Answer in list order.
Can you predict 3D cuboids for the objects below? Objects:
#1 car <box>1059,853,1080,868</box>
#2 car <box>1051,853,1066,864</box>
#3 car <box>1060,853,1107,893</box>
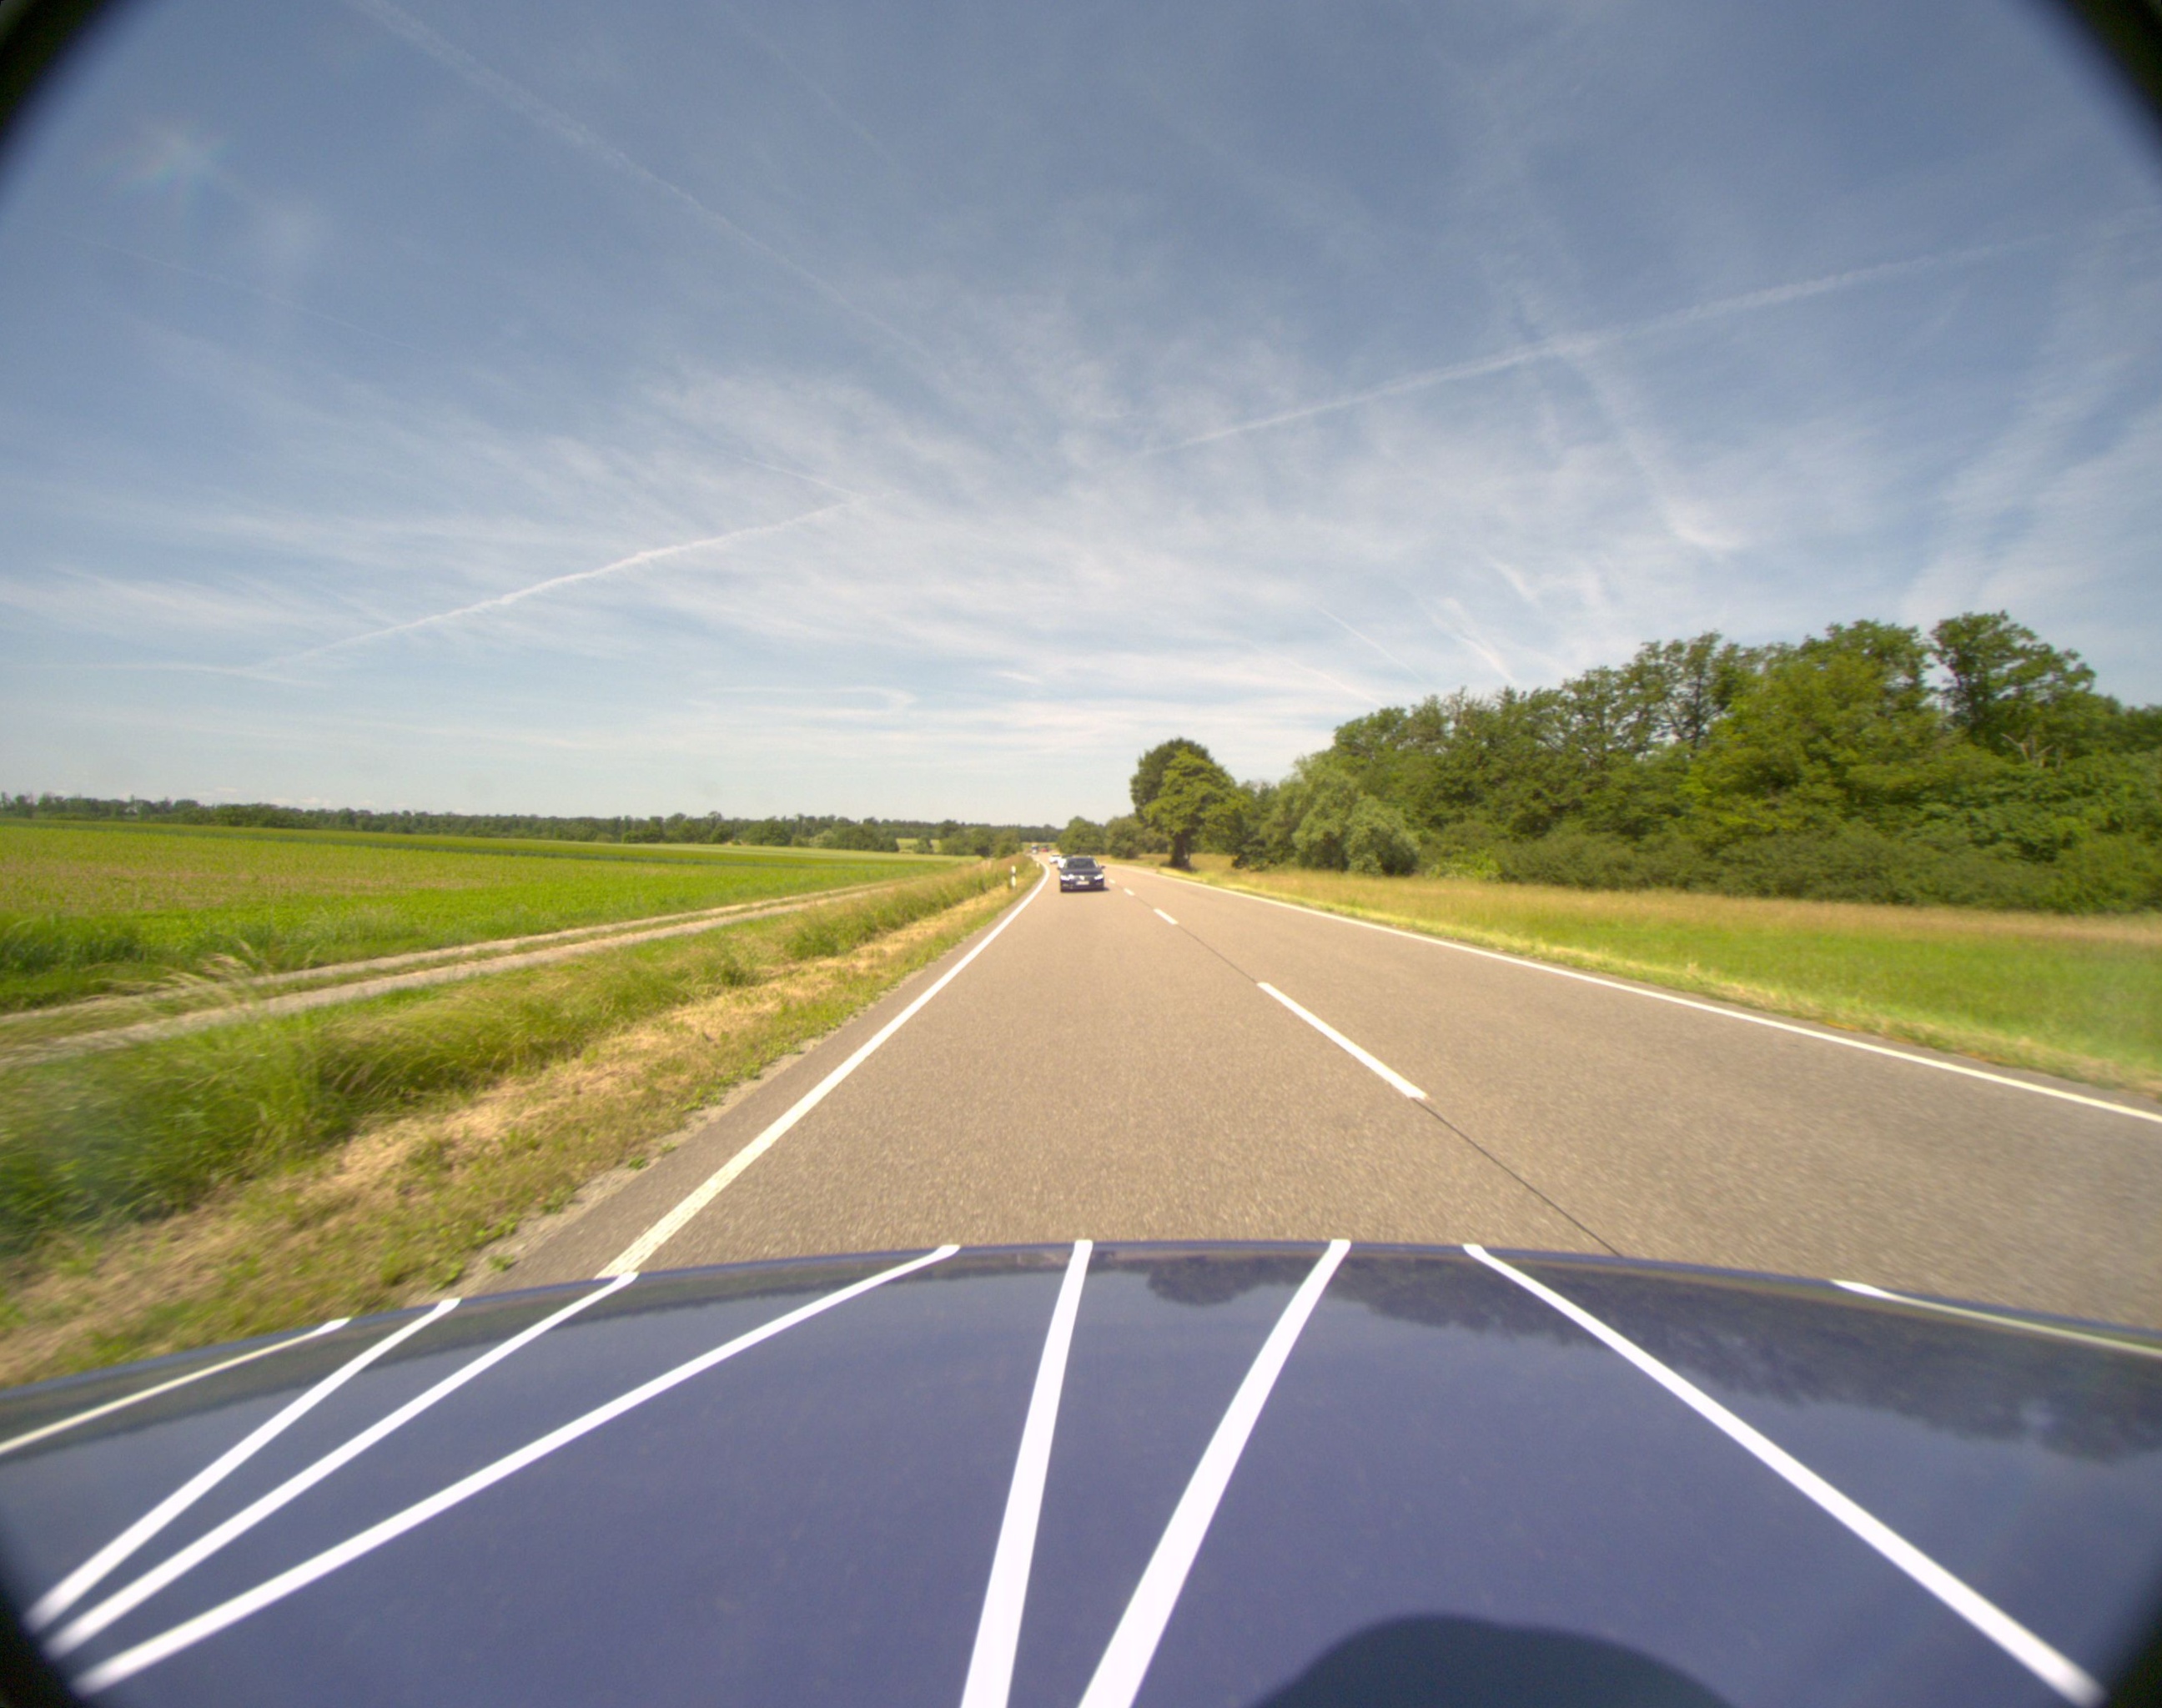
[{"bbox_3d":[-1.199,0.690,78.891,1.929,1.501,4.289,0,0,-4],"label":"car"},{"bbox_3d":[-3.262,0.667,110.470,1.929,1.501,4.289,1,0,-5],"label":"car"},{"bbox_3d":[0.044,0.772,32.836,1.822,1.501,4.499,-2,0,-2],"label":"car"}]
